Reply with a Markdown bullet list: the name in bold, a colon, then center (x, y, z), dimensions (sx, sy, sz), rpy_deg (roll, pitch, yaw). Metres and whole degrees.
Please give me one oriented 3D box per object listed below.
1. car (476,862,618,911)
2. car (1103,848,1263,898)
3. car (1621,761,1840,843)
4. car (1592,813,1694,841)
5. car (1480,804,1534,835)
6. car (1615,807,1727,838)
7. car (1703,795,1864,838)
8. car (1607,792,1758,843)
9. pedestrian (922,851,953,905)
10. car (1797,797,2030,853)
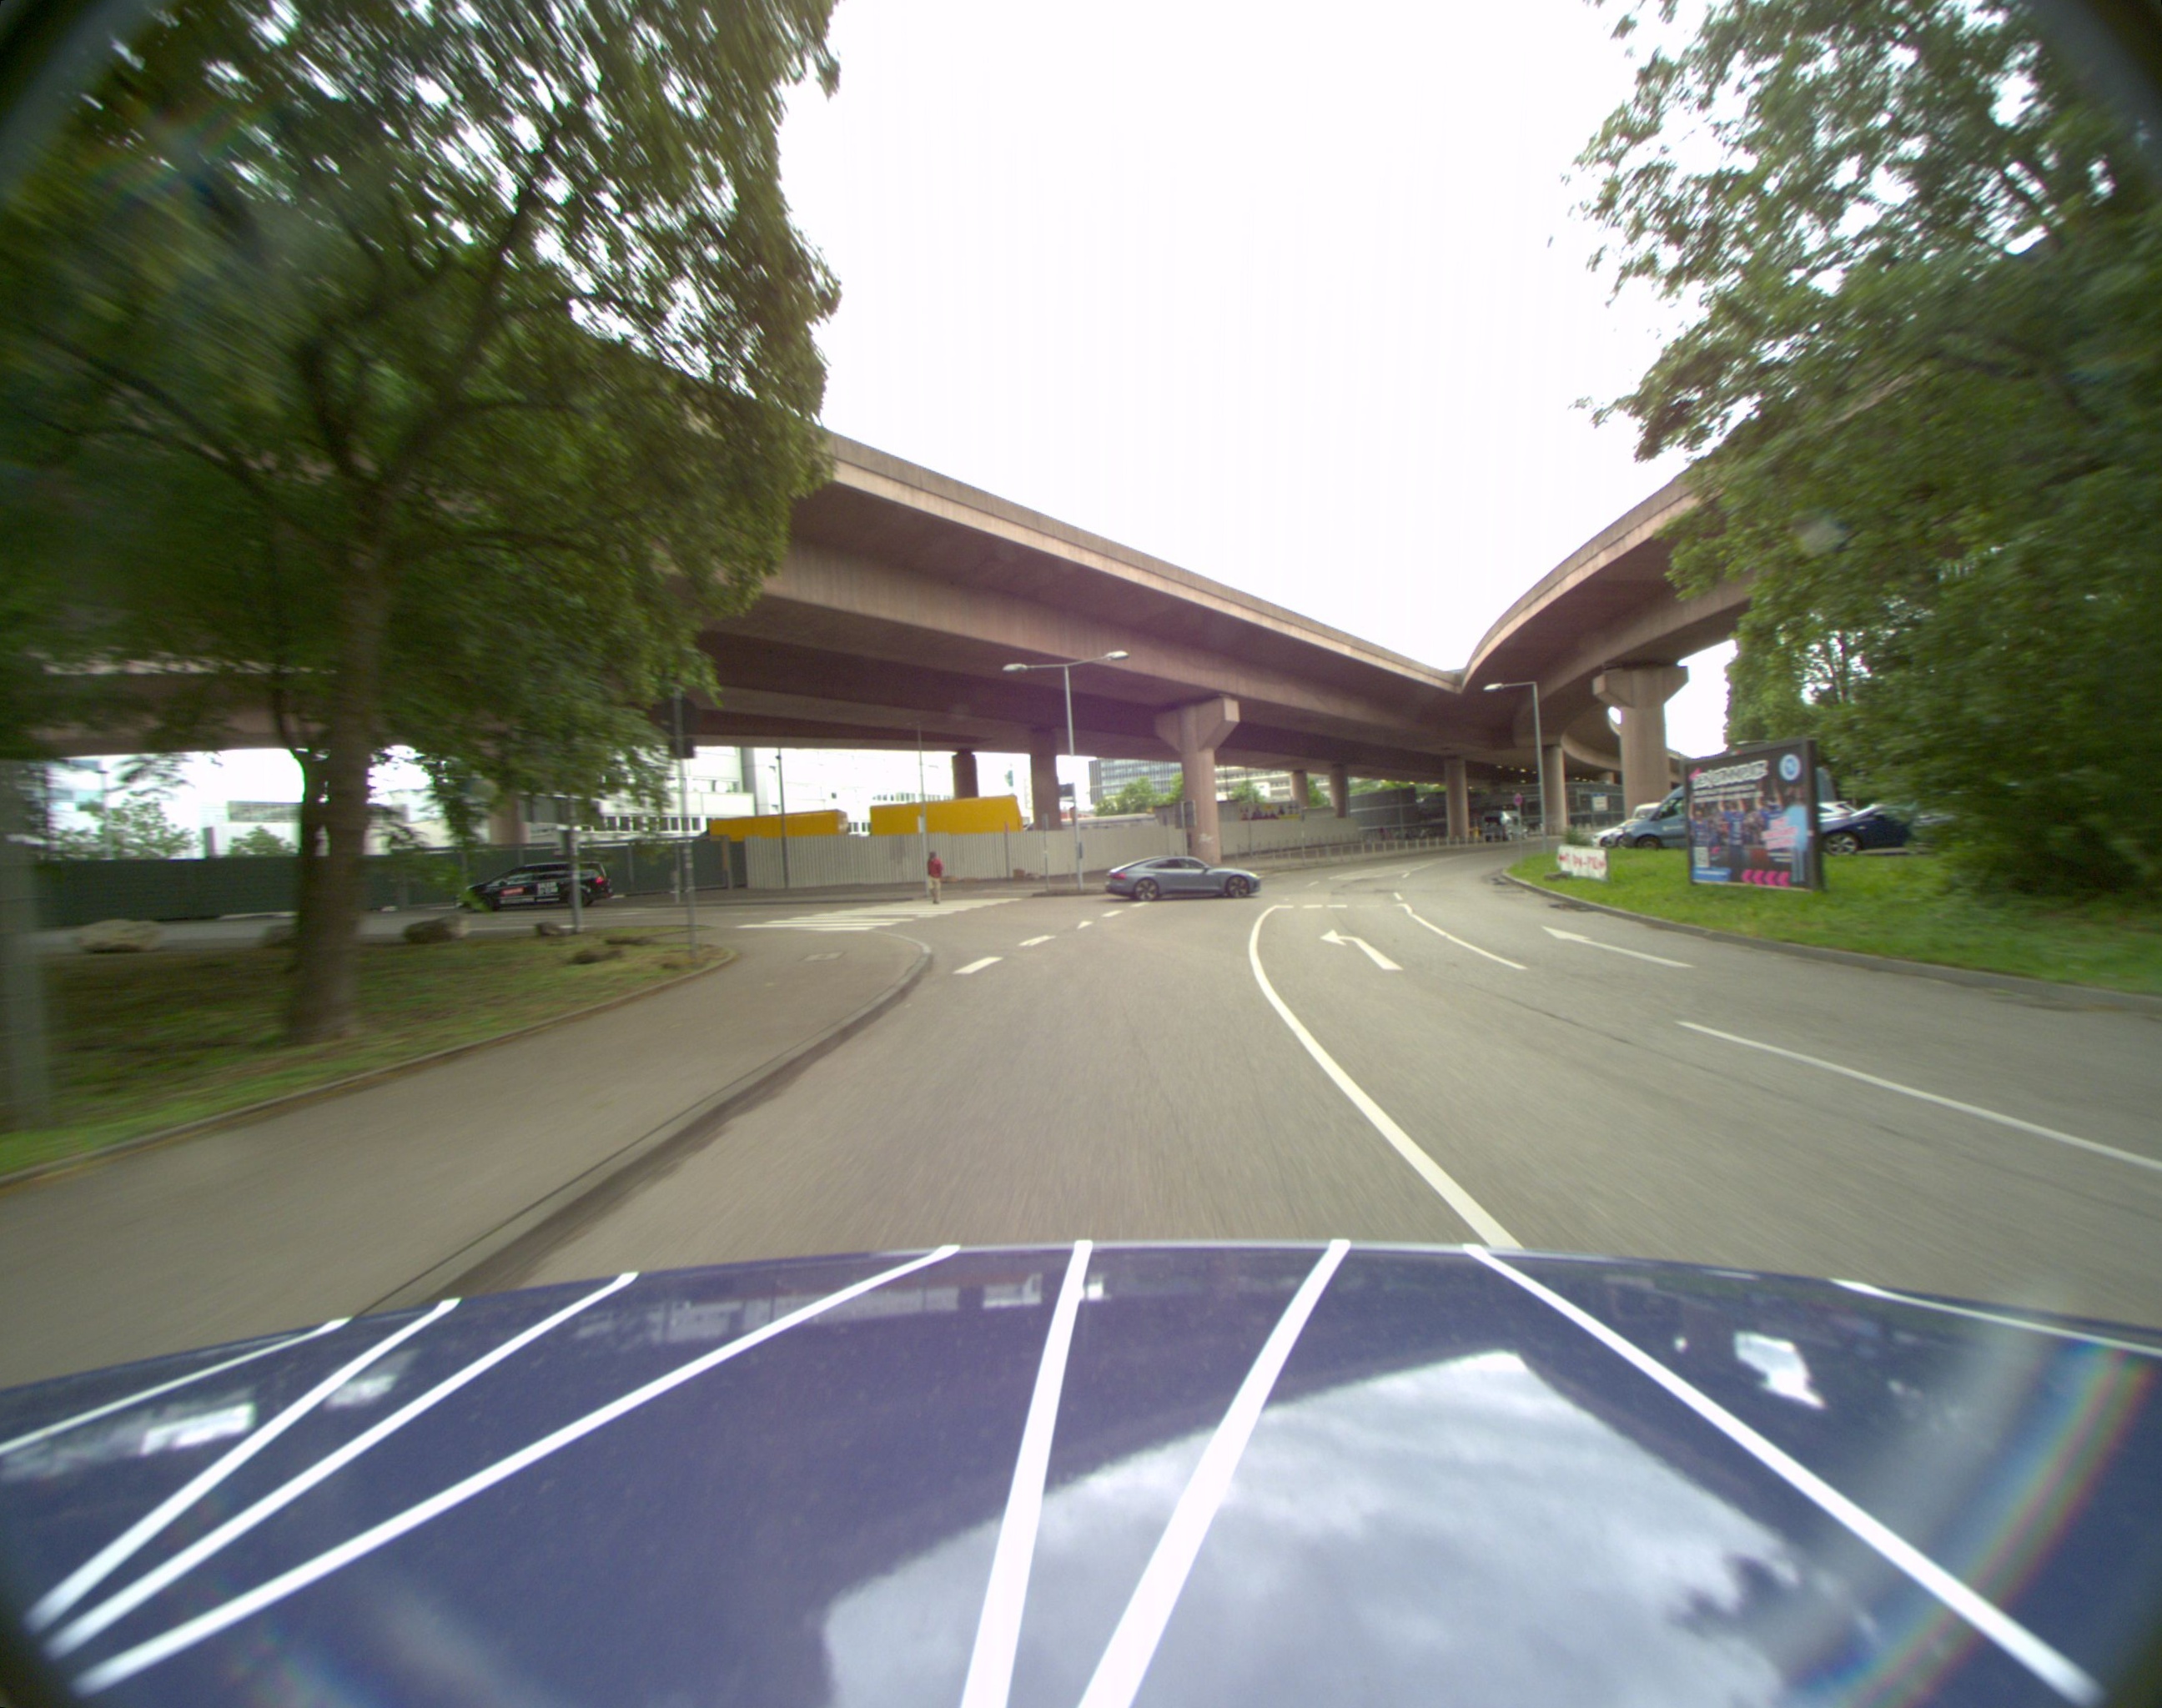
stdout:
- **car**: center (-19.625, 1.153, 28.153), dimensions (4.005, 1.625, 1.796), rpy_deg (-1, 1, -25)
- **car**: center (3.214, 0.569, 24.450), dimensions (4.754, 1.351, 1.932), rpy_deg (-2, 1, -7)
- **car**: center (22.931, -1.703, 27.104), dimensions (1.833, 2.566, 5.671), rpy_deg (-1, 1, -38)
- **car**: center (26.437, -1.257, 35.834), dimensions (1.359, 1.227, 3.618), rpy_deg (-1, 1, -40)
- **car**: center (37.299, -2.978, 66.433), dimensions (5.698, 2.571, 2.296), rpy_deg (-1, 1, -41)
- **car**: center (25.471, -1.322, 32.891), dimensions (1.359, 1.227, 3.618), rpy_deg (-1, 1, -40)
- **car**: center (21.945, -1.121, 23.836), dimensions (3.617, 1.227, 1.359), rpy_deg (0, 1, 45)
- **car**: center (23.913, -1.394, 30.370), dimensions (1.638, 1.846, 4.480), rpy_deg (-1, 1, -38)
- **pedestrian**: center (-4.648, 0.772, 24.586), dimensions (0.754, 1.671, 0.854), rpy_deg (-2, 1, 1)
- **car**: center (19.643, -0.641, 18.169), dimensions (3.617, 1.227, 1.359), rpy_deg (0, 1, 41)
